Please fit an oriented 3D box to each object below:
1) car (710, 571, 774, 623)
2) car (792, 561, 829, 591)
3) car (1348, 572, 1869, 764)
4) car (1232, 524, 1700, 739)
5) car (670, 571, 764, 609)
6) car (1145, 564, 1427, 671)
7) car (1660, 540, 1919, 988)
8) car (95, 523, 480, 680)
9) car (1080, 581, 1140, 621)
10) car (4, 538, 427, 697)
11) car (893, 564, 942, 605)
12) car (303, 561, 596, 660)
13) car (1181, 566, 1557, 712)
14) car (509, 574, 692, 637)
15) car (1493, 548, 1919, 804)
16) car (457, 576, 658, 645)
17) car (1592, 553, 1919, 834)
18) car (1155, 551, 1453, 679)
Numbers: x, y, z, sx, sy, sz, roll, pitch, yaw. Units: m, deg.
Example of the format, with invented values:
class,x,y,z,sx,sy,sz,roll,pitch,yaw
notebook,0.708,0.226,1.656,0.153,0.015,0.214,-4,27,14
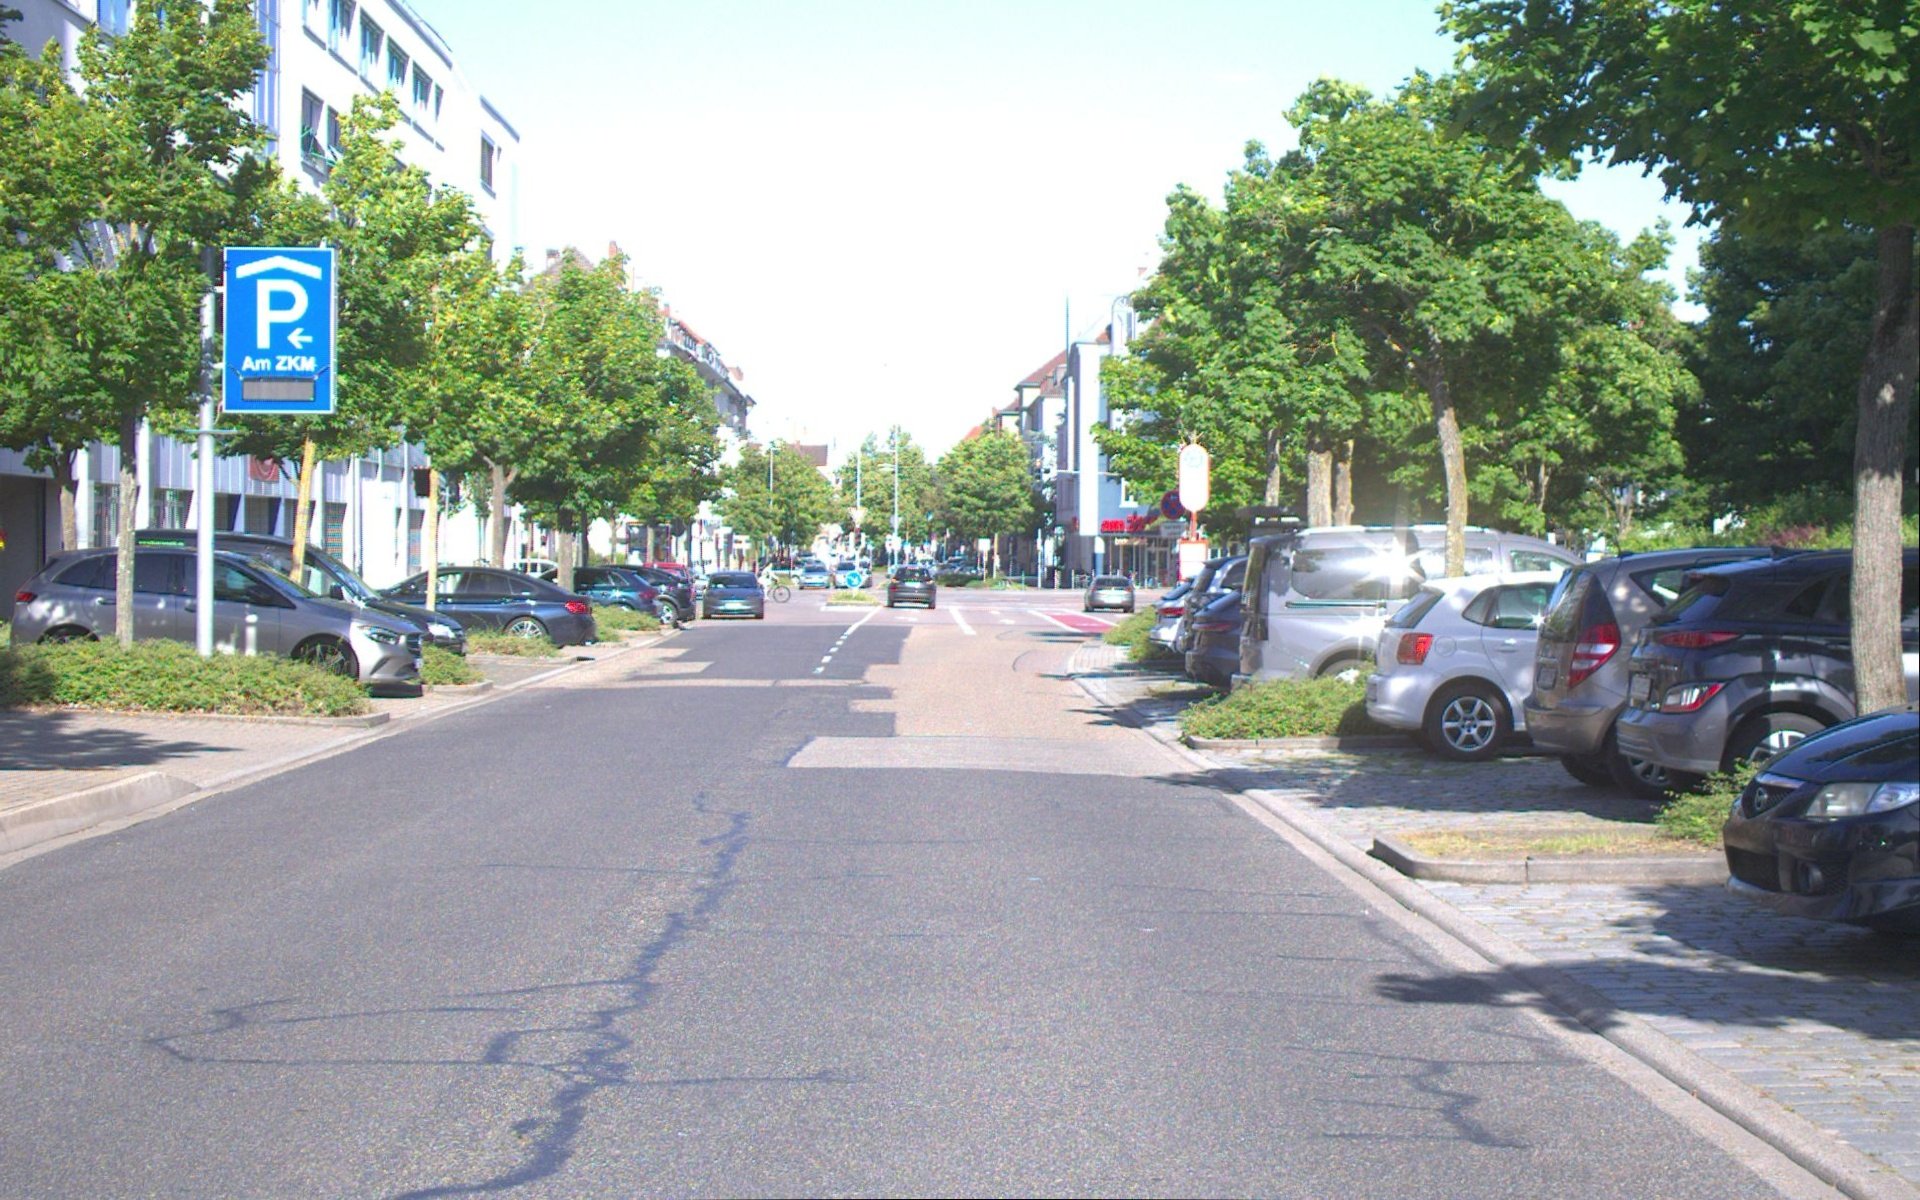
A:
class,x,y,z,sx,sy,sz,roll,pitch,yaw
car,-6.615,-0.119,104.581,1.811,1.469,4.111,0,2,-2
car,-8.727,-1.401,201.179,1.871,1.636,3.926,0,2,2
car,5.081,0.521,27.302,3.765,1.454,1.818,0,0,-1
car,4.545,0.259,31.259,3.987,1.873,1.682,0,1,0
car,-10.518,-0.438,148.722,3.986,1.556,2.001,0,2,-5
car,4.606,0.251,48.904,3.913,1.470,1.757,0,-1,4
car,4.922,0.556,13.058,4.144,1.574,1.741,0,1,-2
car,-8.182,-0.003,42.068,4.331,1.855,1.818,0,1,1
car,5.879,0.026,135.528,1.989,1.469,4.111,0,2,-3
car,-8.039,0.175,37.352,4.261,1.660,1.599,0,1,-1
car,-1.606,-0.597,131.486,1.812,1.469,4.111,0,2,0
car,-7.828,0.150,52.979,4.330,1.469,1.818,0,1,-4
car,4.349,0.399,37.016,3.913,1.469,1.795,0,1,4
car,-8.779,0.125,84.164,4.331,1.469,1.818,0,1,-1
car,5.627,0.474,22.399,3.987,1.576,2.031,0,0,0
car,-9.023,0.234,77.239,4.331,1.469,1.818,0,1,-1
car,5.801,0.521,19.756,3.987,1.533,1.861,0,0,0
car,4.609,0.183,46.506,3.913,1.636,1.877,0,1,4
